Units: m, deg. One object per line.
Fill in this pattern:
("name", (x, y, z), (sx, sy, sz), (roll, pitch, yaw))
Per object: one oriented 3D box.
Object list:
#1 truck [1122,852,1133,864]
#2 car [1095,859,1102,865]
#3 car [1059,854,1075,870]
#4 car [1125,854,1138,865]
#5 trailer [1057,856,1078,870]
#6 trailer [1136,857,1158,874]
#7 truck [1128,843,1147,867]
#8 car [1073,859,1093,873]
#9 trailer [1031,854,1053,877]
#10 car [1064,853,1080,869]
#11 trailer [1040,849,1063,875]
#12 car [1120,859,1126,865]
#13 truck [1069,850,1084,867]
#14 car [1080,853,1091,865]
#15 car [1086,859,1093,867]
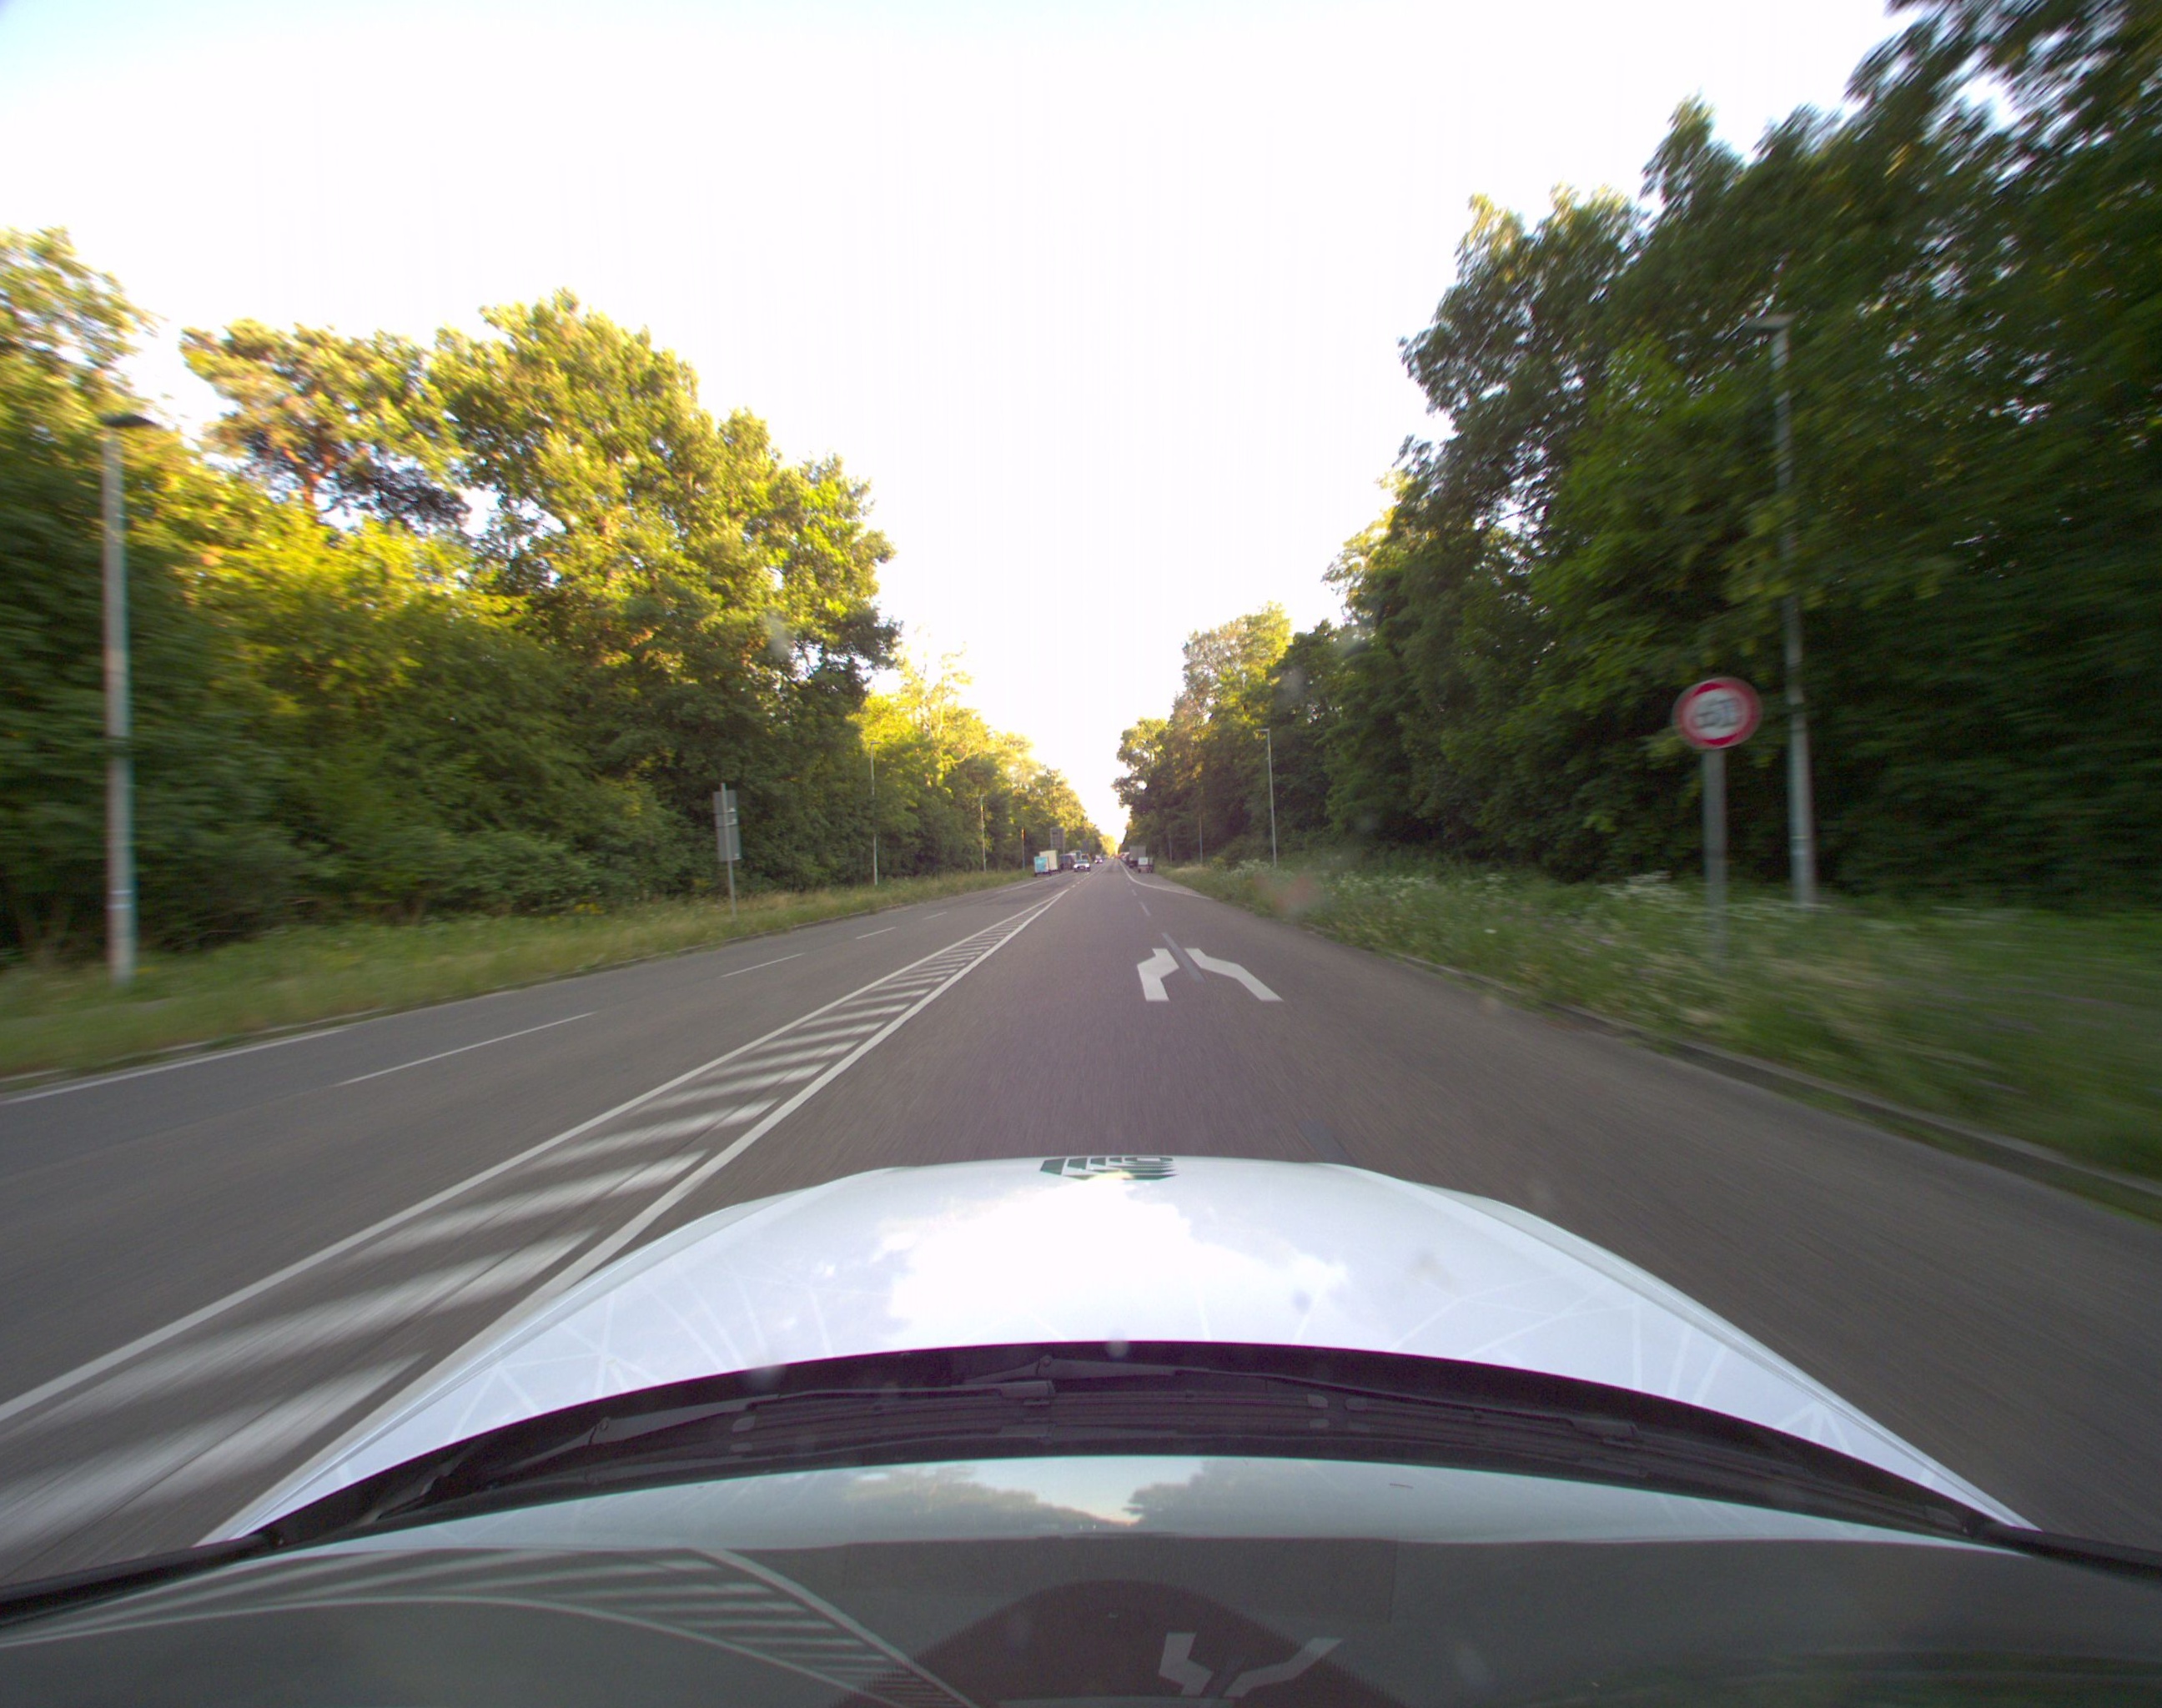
("truck", (10.371, 0.822, 182.253), (2.134, 2.660, 4.299), (-1, -1, 0))
("car", (4.461, 2.150, 209.882), (1.677, 1.486, 4.037), (-3, 0, 0))
("car", (-2.174, 1.227, 126.406), (1.986, 2.364, 5.769), (-5, 0, 2))
("car", (9.295, 1.039, 150.413), (1.987, 1.955, 4.299), (-1, -1, 0))
("trailer", (-2.263, 1.432, 137.592), (1.945, 2.155, 3.952), (-4, 0, 23))
("trailer", (6.836, 1.183, 84.307), (1.445, 1.662, 3.793), (-4, -1, 15))
("truck", (8.020, 0.219, 116.518), (2.577, 3.255, 7.227), (-1, -1, 4))
("car", (0.302, 1.467, 101.463), (2.054, 1.435, 4.471), (-4, 0, 5))
("trailer", (-4.017, 1.188, 84.651), (1.811, 2.167, 4.144), (-3, 0, 1))
("car", (-1.564, 1.164, 143.107), (2.240, 2.647, 5.724), (-4, 0, 2))
("trailer", (-3.596, 0.911, 100.267), (2.317, 2.924, 5.629), (-5, 0, 2))
("car", (9.829, 1.829, 189.255), (1.143, 1.251, 2.754), (-9, 1, 0))
("truck", (-0.854, 0.916, 168.688), (2.494, 3.328, 6.845), (-4, 0, 2))
("car", (1.145, 1.184, 203.306), (2.178, 2.788, 5.337), (-4, 0, 2))
("car", (2.245, 2.420, 224.918), (1.693, 2.013, 4.002), (-5, -1, 2))
